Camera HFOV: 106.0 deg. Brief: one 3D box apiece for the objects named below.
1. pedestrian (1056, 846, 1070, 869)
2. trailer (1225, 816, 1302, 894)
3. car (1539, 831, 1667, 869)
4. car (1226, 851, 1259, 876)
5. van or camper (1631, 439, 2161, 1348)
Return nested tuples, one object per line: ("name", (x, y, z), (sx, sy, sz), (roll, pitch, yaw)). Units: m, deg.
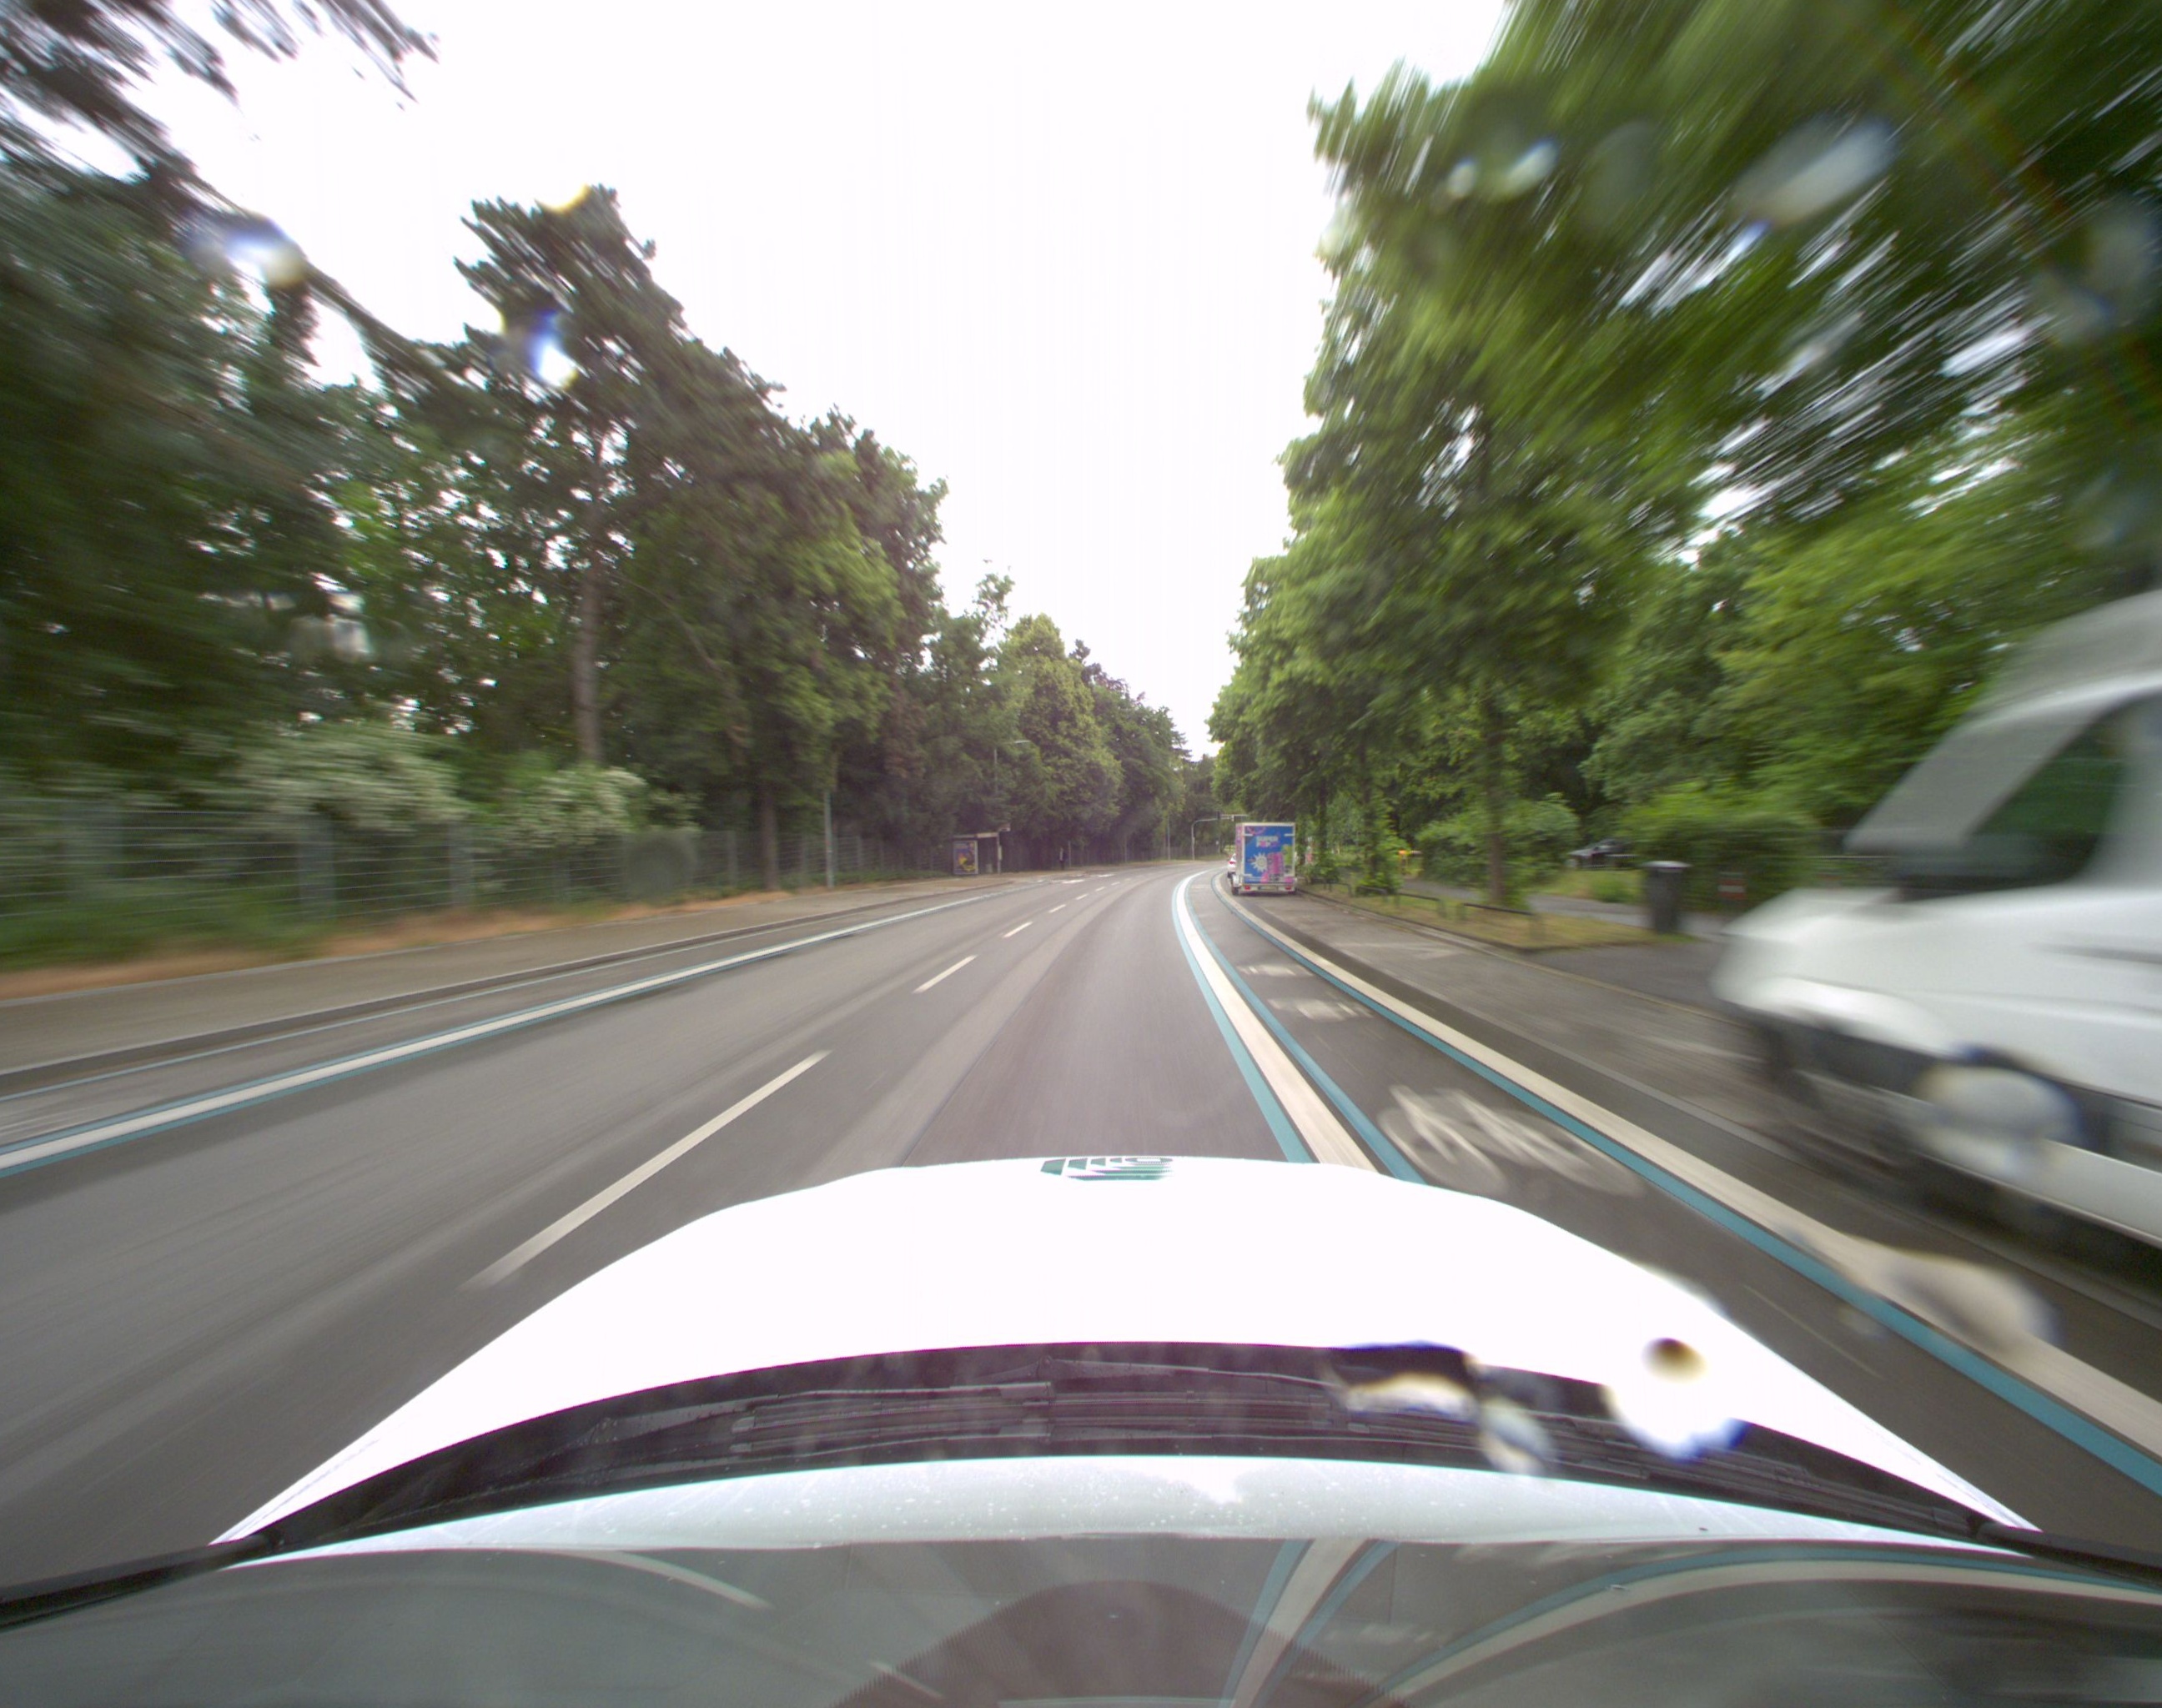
("pedestrian", (-1.389, 0.289, 62.575), (0.882, 1.733, 1.148), (0, 0, 7))
("trailer", (6.742, 0.025, 30.667), (2.304, 2.672, 5.386), (0, 0, 7))
("car", (21.542, -0.150, 33.809), (4.103, 1.322, 1.899), (-3, -1, 18))
("car", (9.904, 0.551, 49.886), (1.847, 1.428, 4.664), (0, 0, 12))
("van or camper", (4.273, 0.115, 1.686), (2.306, 2.664, 6.389), (0, 0, 4))
